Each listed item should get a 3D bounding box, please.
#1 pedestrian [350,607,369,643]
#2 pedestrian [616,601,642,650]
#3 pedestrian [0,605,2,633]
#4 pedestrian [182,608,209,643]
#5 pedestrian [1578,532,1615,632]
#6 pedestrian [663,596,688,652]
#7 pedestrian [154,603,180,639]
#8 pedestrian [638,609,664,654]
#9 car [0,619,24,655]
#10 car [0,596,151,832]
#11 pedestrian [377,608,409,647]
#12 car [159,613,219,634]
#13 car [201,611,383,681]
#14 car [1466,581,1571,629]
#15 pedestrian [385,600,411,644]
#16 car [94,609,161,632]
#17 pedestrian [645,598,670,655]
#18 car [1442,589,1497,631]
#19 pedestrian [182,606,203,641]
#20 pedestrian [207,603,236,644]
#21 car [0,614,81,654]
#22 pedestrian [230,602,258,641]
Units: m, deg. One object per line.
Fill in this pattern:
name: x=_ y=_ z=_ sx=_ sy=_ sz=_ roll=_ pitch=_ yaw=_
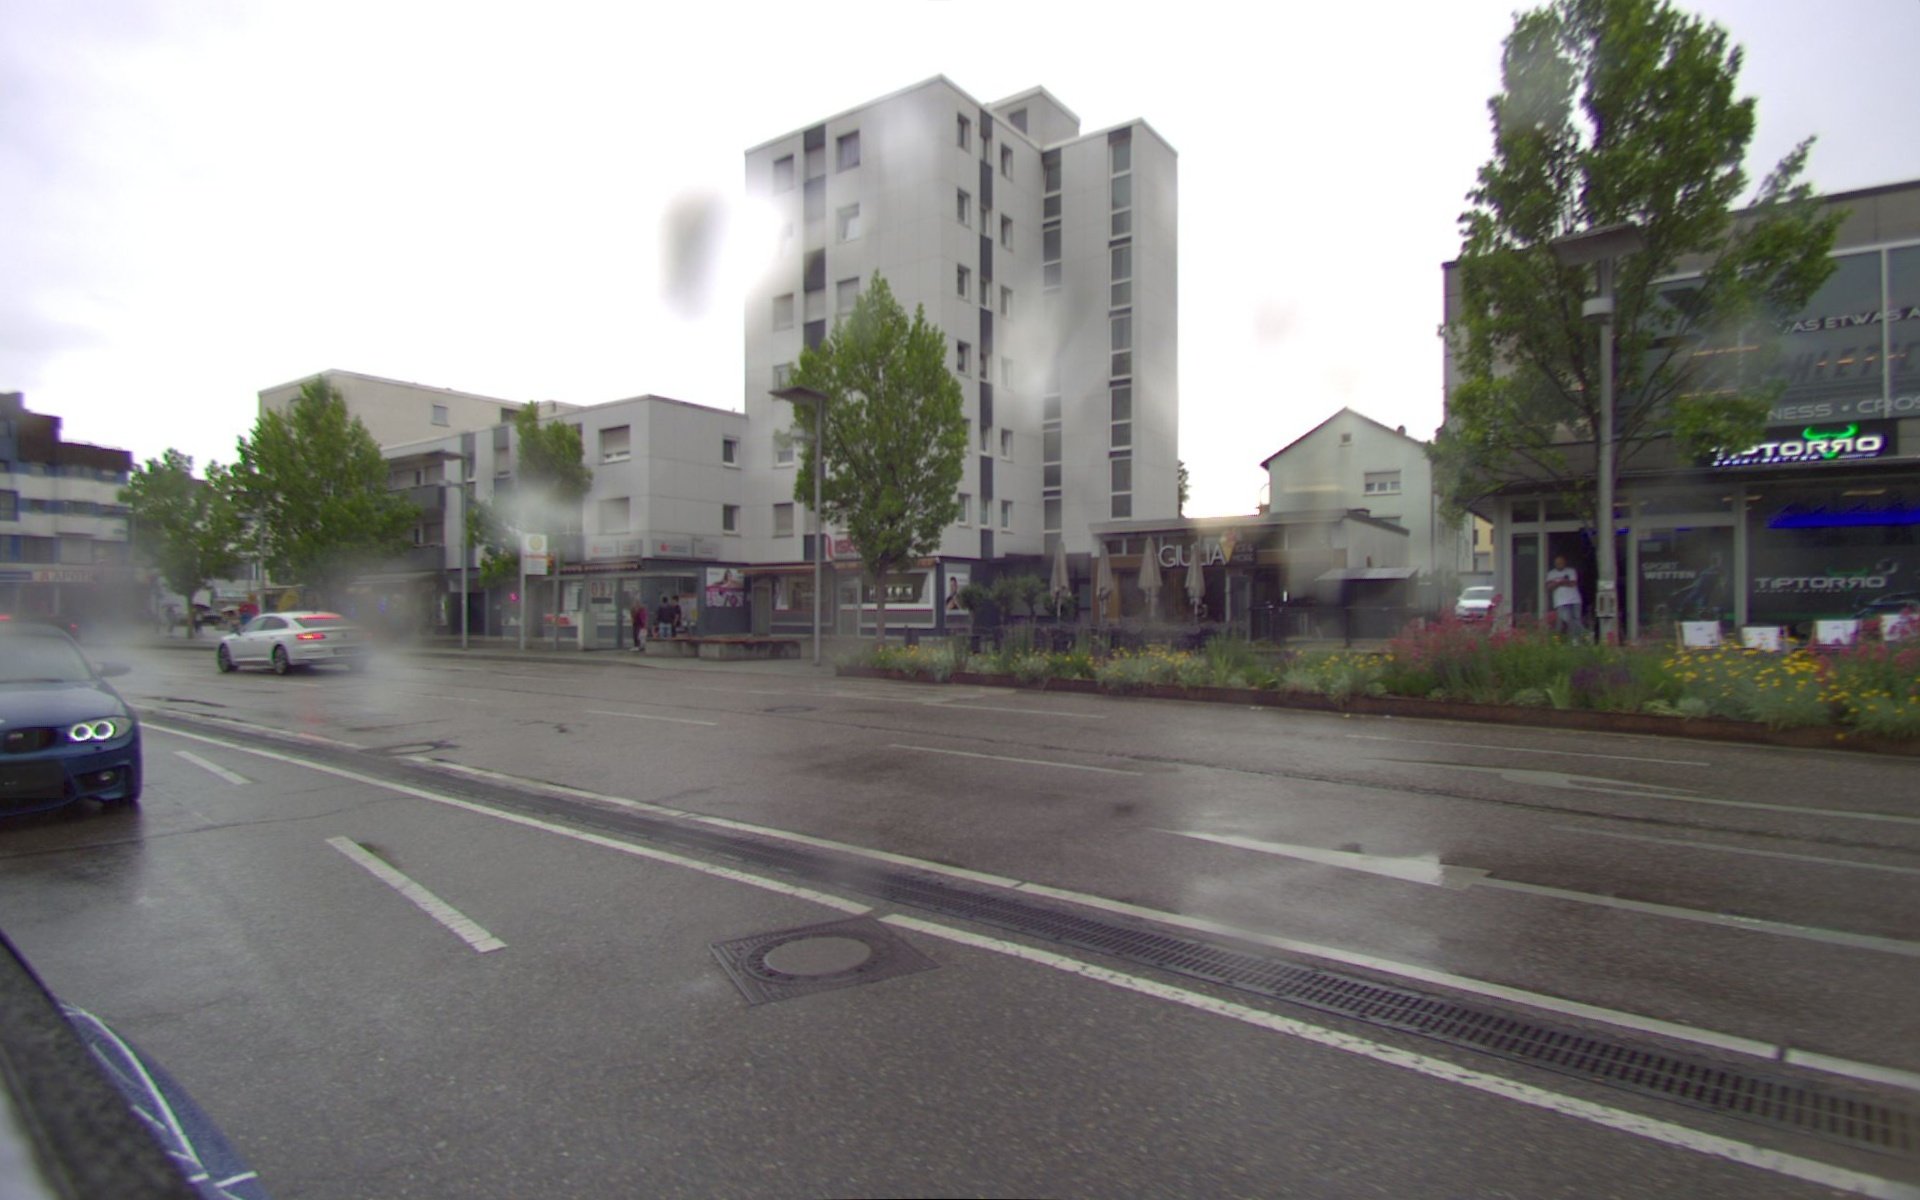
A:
pedestrian: x=-29.237 y=1.208 z=49.289 sx=0.679 sy=1.763 sz=0.543 roll=-2 pitch=-1 yaw=37
pedestrian: x=-10.410 y=0.791 z=31.835 sx=0.609 sy=1.516 sz=0.535 roll=-1 pitch=0 yaw=12
pedestrian: x=-60.879 y=1.219 z=63.738 sx=0.672 sy=1.756 sz=0.587 roll=-1 pitch=1 yaw=-30
pedestrian: x=-42.171 y=1.400 z=55.816 sx=0.975 sy=1.929 sz=0.896 roll=-1 pitch=-1 yaw=34
pedestrian: x=12.029 y=-0.340 z=19.126 sx=0.421 sy=1.862 sz=0.501 roll=0 pitch=-1 yaw=-45
pedestrian: x=-8.606 y=0.713 z=30.605 sx=0.479 sy=1.672 sz=0.529 roll=-1 pitch=0 yaw=41
pedestrian: x=-42.863 y=1.122 z=54.684 sx=0.976 sy=1.929 sz=0.894 roll=-2 pitch=-1 yaw=38
pedestrian: x=-9.515 y=0.973 z=31.208 sx=0.578 sy=1.362 sz=0.529 roll=-1 pitch=0 yaw=41
car: x=-41.626 y=1.560 z=43.336 sx=4.884 sy=1.437 sz=1.739 roll=-1 pitch=0 yaw=41
car: x=-7.887 y=0.805 z=7.882 sx=3.908 sy=1.554 sz=1.655 roll=-2 pitch=-1 yaw=39
pedestrian: x=-24.978 y=1.198 z=44.554 sx=0.725 sy=1.658 sz=0.999 roll=-1 pitch=0 yaw=34
car: x=-67.013 y=1.989 z=88.011 sx=1.732 sy=1.733 sz=3.875 roll=-1 pitch=0 yaw=16
car: x=-15.978 y=1.043 z=24.140 sx=4.793 sy=1.471 sz=1.828 roll=-1 pitch=0 yaw=32
car: x=21.781 y=0.163 z=39.443 sx=3.932 sy=1.780 sz=1.876 roll=-1 pitch=0 yaw=-31
pedestrian: x=-26.109 y=1.029 z=47.013 sx=0.862 sy=2.029 sz=0.752 roll=-2 pitch=-1 yaw=36
car: x=-67.074 y=1.614 z=81.577 sx=1.732 sy=1.733 sz=3.875 roll=-1 pitch=0 yaw=16
pedestrian: x=-8.960 y=0.771 z=30.019 sx=0.535 sy=1.672 sz=0.474 roll=-1 pitch=0 yaw=36
car: x=22.607 y=0.411 z=44.835 sx=1.722 sy=1.783 sz=3.954 roll=-1 pitch=0 yaw=34
pedestrian: x=-45.380 y=1.393 z=59.829 sx=0.862 sy=2.029 sz=0.752 roll=-1 pitch=-1 yaw=33
pedestrian: x=-37.428 y=1.174 z=51.294 sx=0.975 sy=2.029 sz=0.896 roll=-1 pitch=-1 yaw=34
car: x=-35.861 y=1.307 z=39.135 sx=3.987 sy=1.438 sz=1.744 roll=-2 pitch=-1 yaw=33
pedestrian: x=-37.056 y=1.106 z=52.368 sx=0.975 sy=2.029 sz=0.896 roll=-1 pitch=-1 yaw=34
